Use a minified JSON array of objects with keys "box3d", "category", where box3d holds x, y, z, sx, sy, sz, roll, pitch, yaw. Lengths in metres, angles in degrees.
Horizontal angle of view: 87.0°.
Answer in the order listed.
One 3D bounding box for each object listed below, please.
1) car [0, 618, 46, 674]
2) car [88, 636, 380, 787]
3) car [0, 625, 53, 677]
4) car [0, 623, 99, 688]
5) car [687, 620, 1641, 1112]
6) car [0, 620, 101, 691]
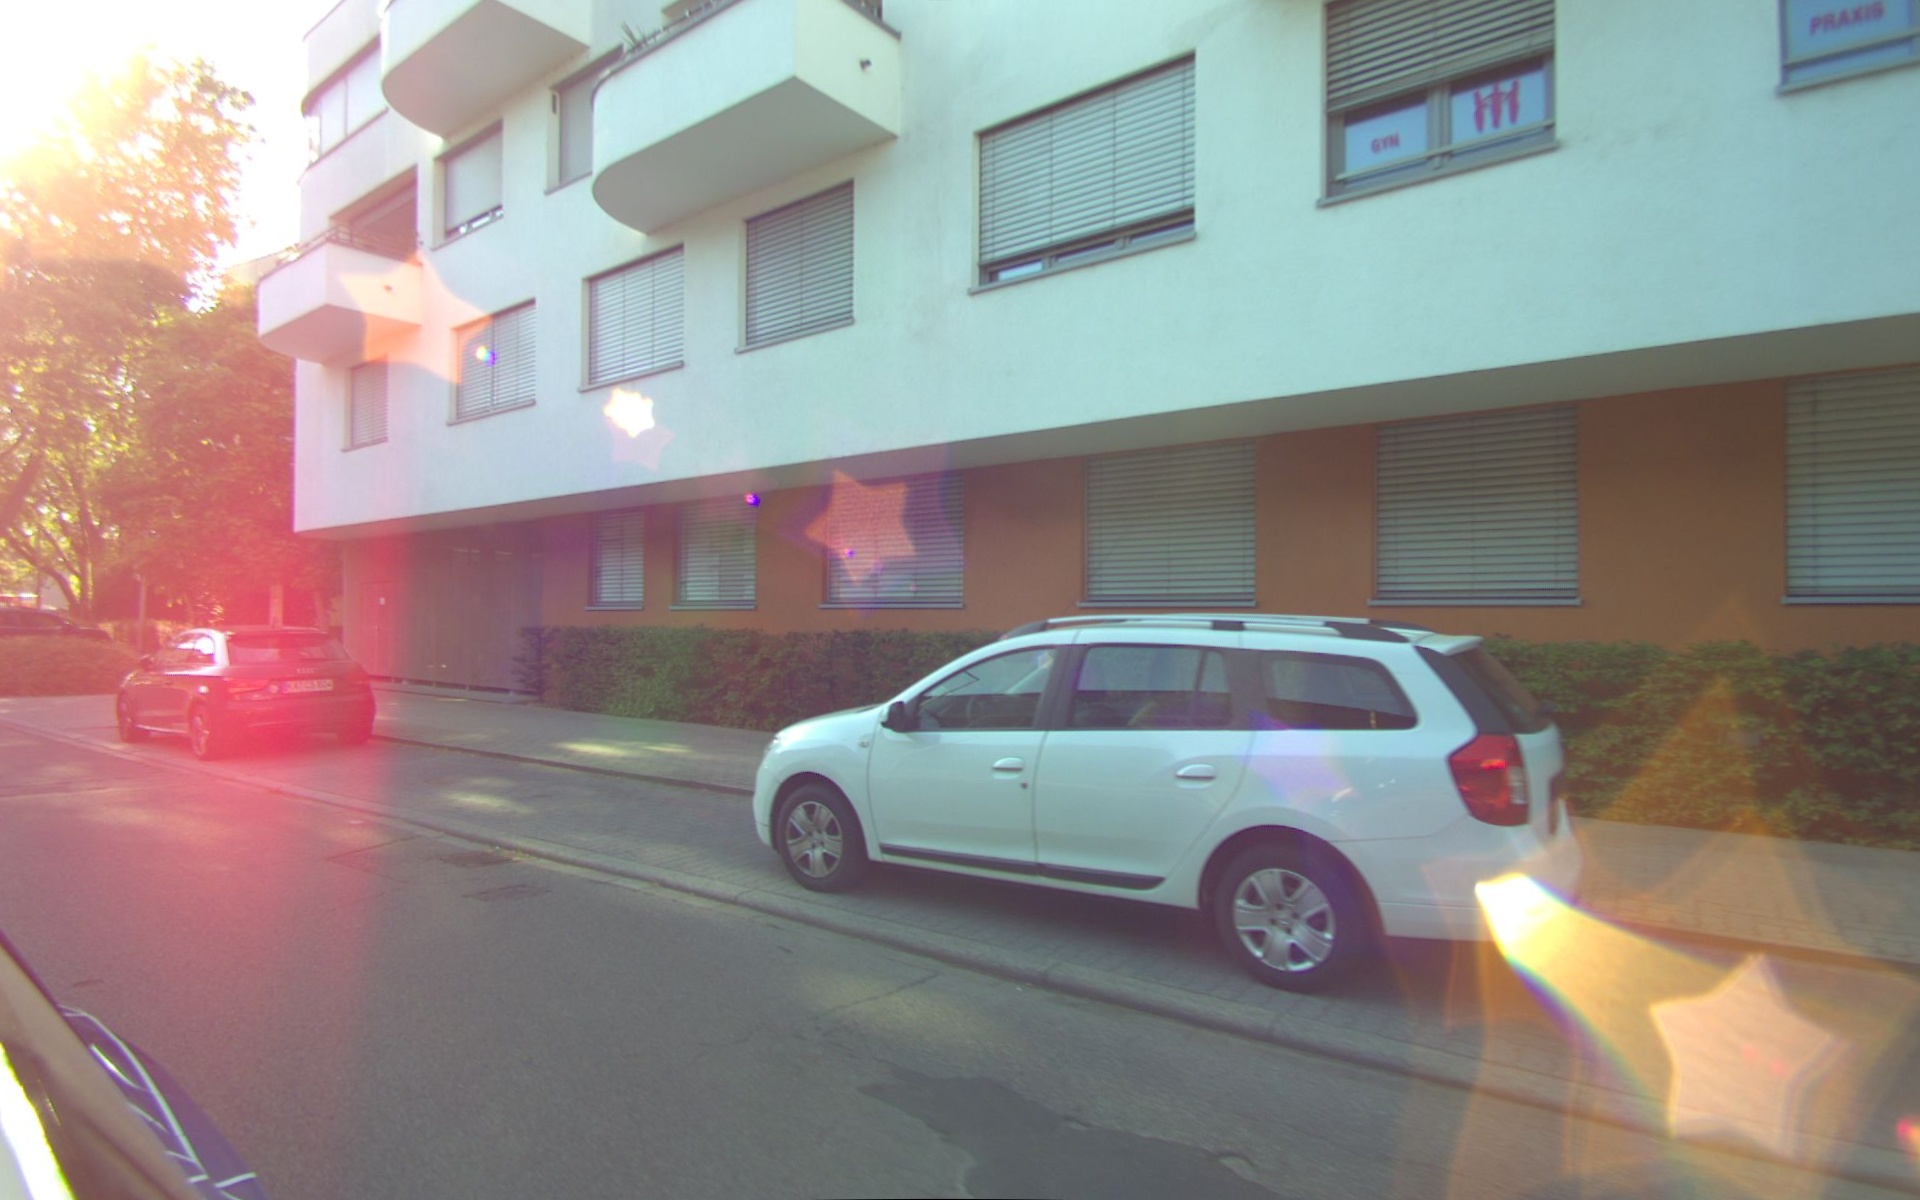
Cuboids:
[{"box3d":[-32.227,1.461,32.276,1.887,1.788,4.252,0,-2,12],"category":"car"},{"box3d":[-8.653,1.189,11.983,3.762,1.444,1.660,-1,-1,35],"category":"car"},{"box3d":[-30.083,1.542,30.627,1.681,1.572,3.638,0,-2,10],"category":"car"},{"box3d":[-25.650,1.447,26.784,1.758,1.652,4.124,0,-2,11],"category":"car"},{"box3d":[0.824,0.919,5.407,4.608,1.599,1.843,0,-1,33],"category":"car"},{"box3d":[-23.251,1.306,24.228,1.680,1.675,3.950,0,-2,8],"category":"car"}]
